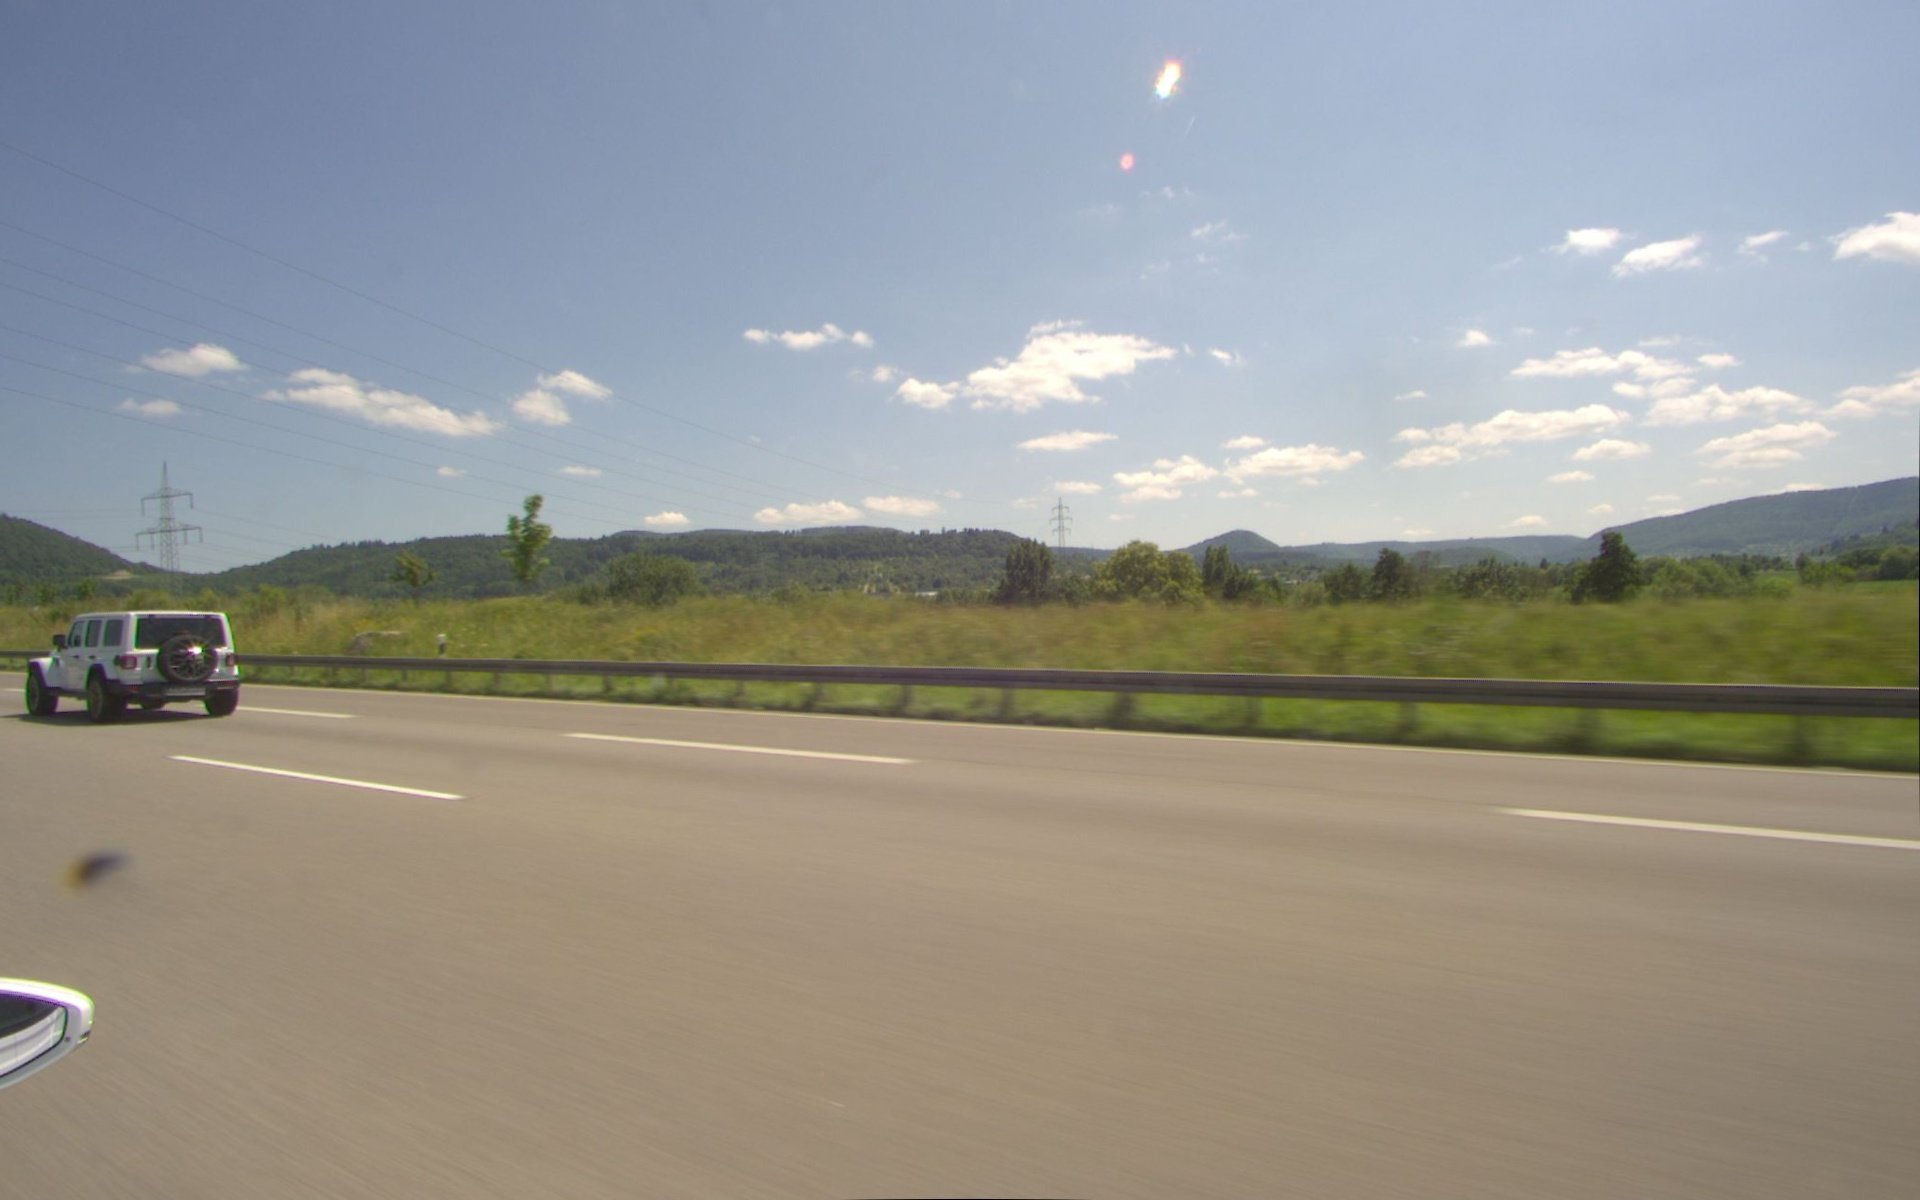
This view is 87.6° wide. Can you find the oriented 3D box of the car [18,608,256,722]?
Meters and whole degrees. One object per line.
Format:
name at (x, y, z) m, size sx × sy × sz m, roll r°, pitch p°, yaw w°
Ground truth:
car at (-14.764, 1.075, 17.927) m, size 4.188 × 1.827 × 2.031 m, roll 0°, pitch -1°, yaw 31°
